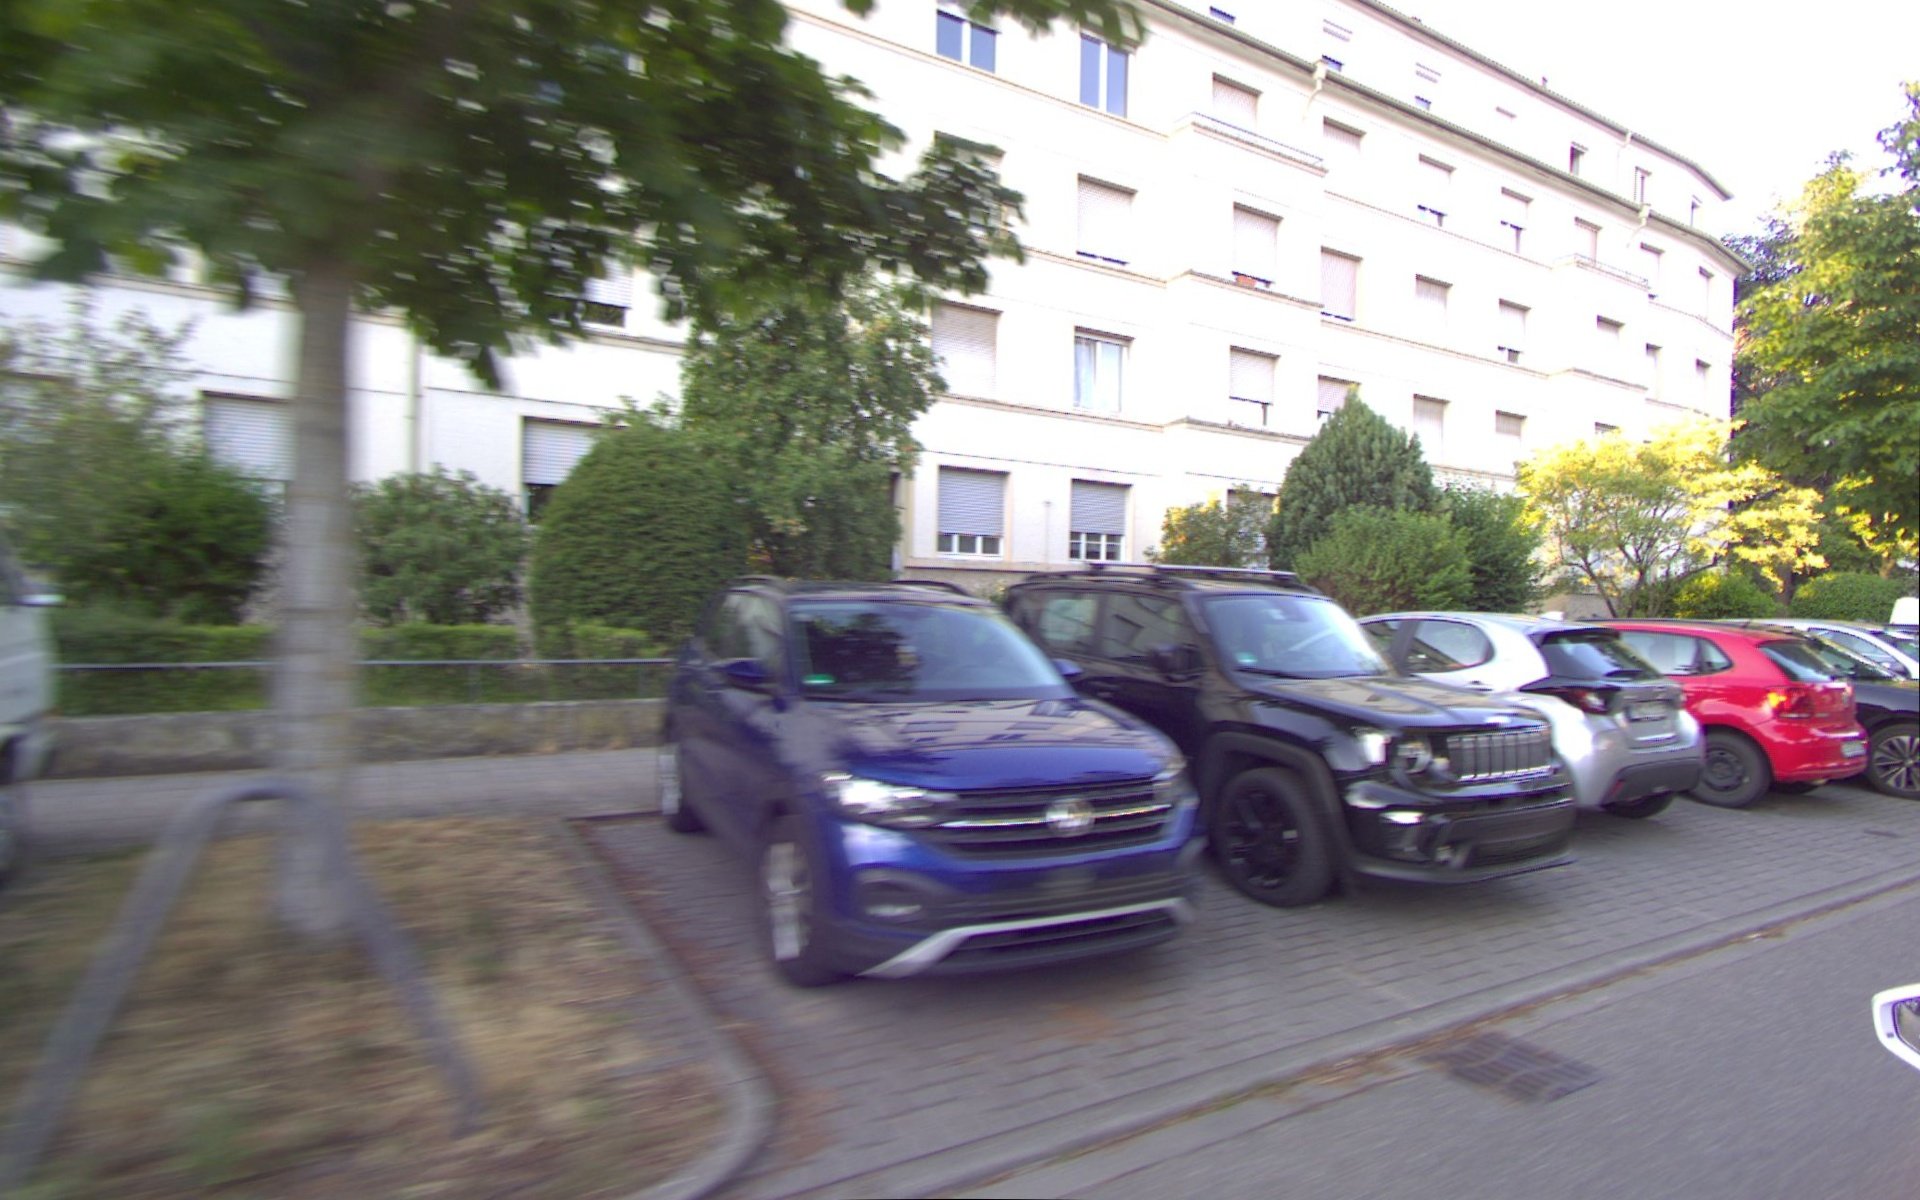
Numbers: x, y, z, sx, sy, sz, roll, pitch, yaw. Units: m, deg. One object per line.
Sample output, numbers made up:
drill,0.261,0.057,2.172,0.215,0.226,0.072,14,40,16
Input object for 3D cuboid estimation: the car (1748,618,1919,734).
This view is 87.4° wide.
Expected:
car,14.104,1.117,13.829,1.859,1.490,4.747,2,1,-31

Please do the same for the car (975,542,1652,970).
car,1.799,0.641,6.359,1.820,1.801,3.846,1,1,-27

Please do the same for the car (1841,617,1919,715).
car,16.141,1.065,15.539,1.737,1.503,3.399,1,1,-29

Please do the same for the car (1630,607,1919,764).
car,10.477,0.936,11.802,1.783,1.599,3.961,1,1,-34

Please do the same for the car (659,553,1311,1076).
car,-0.294,0.646,5.223,1.763,1.616,3.846,1,1,-27

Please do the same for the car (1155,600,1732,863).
car,3.657,0.818,8.304,1.770,1.544,3.963,1,1,-33

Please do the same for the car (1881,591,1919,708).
car,18.589,0.908,16.484,1.977,2.041,4.747,1,1,-31

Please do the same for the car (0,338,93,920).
car,-4.489,0.134,2.955,1.975,2.463,4.483,1,1,-28

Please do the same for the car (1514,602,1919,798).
car,8.367,0.885,10.256,1.880,1.636,4.378,1,1,-34

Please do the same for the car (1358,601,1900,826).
car,6.082,0.860,9.605,1.713,1.604,3.961,1,1,-34
